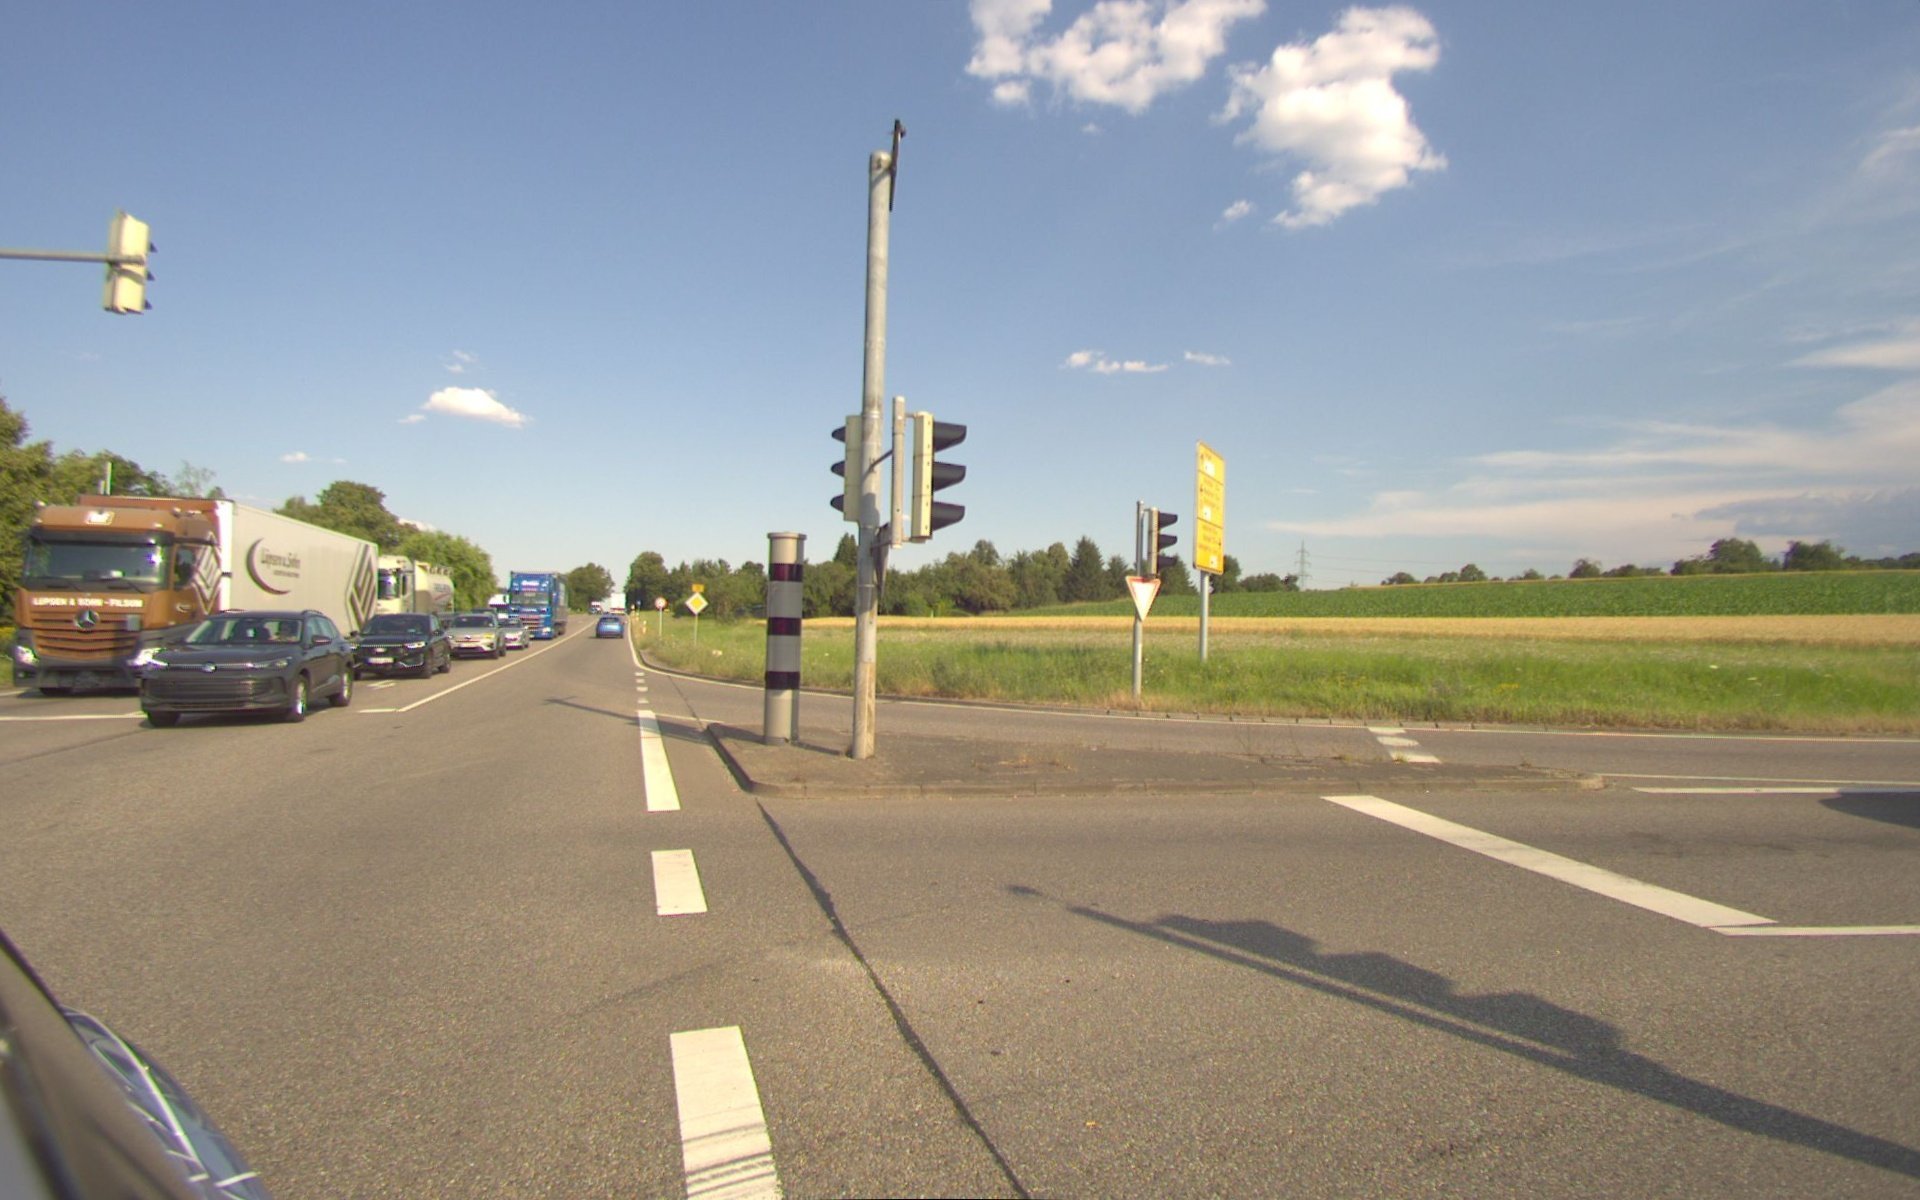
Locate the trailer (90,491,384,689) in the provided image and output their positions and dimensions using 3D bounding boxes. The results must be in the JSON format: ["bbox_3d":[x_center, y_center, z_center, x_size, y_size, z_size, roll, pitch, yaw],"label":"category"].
[{"bbox_3d":[-19.020,-0.061,28.098,2.496,4.098,14.380,0,-1,-18],"label":"trailer"}]

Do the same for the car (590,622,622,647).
[{"bbox_3d":[-22.468,2.168,64.136,1.734,1.512,4.013,1,-2,-21],"label":"car"}]

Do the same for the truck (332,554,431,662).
[{"bbox_3d":[-22.021,0.323,38.788,2.224,3.834,5.704,0,-1,-19],"label":"truck"}]

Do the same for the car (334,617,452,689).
[{"bbox_3d":[-14.397,1.275,25.948,1.746,1.625,4.561,0,-1,-17],"label":"car"}]

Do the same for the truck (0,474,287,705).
[{"bbox_3d":[-16.755,-0.139,21.392,2.496,4.074,6.682,0,-1,-18],"label":"truck"}]

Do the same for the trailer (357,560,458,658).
[{"bbox_3d":[-23.813,0.411,44.067,2.227,3.806,9.555,-1,-1,-19],"label":"trailer"}]

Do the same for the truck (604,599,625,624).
[{"bbox_3d":[-63.382,2.146,185.684,3.392,4.531,9.517,0,-1,-19],"label":"truck"}]

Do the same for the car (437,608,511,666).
[{"bbox_3d":[-17.422,1.289,36.471,1.875,1.962,4.386,0,-1,-19],"label":"car"}]

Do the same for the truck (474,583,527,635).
[{"bbox_3d":[-36.548,0.746,80.894,2.487,3.802,12.938,0,-1,-18],"label":"truck"}]

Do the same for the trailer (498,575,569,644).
[{"bbox_3d":[-27.970,0.646,66.971,3.360,4.035,13.793,0,-1,-19],"label":"trailer"}]

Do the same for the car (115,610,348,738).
[{"bbox_3d":[-10.871,0.984,15.483,1.758,1.641,4.483,0,-1,-20],"label":"car"}]

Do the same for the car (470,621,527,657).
[{"bbox_3d":[-20.760,1.738,45.679,1.965,1.497,4.013,0,-1,-19],"label":"car"}]

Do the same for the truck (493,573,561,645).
[{"bbox_3d":[-25.642,0.554,60.148,3.318,4.035,5.619,0,-1,-19],"label":"truck"}]
